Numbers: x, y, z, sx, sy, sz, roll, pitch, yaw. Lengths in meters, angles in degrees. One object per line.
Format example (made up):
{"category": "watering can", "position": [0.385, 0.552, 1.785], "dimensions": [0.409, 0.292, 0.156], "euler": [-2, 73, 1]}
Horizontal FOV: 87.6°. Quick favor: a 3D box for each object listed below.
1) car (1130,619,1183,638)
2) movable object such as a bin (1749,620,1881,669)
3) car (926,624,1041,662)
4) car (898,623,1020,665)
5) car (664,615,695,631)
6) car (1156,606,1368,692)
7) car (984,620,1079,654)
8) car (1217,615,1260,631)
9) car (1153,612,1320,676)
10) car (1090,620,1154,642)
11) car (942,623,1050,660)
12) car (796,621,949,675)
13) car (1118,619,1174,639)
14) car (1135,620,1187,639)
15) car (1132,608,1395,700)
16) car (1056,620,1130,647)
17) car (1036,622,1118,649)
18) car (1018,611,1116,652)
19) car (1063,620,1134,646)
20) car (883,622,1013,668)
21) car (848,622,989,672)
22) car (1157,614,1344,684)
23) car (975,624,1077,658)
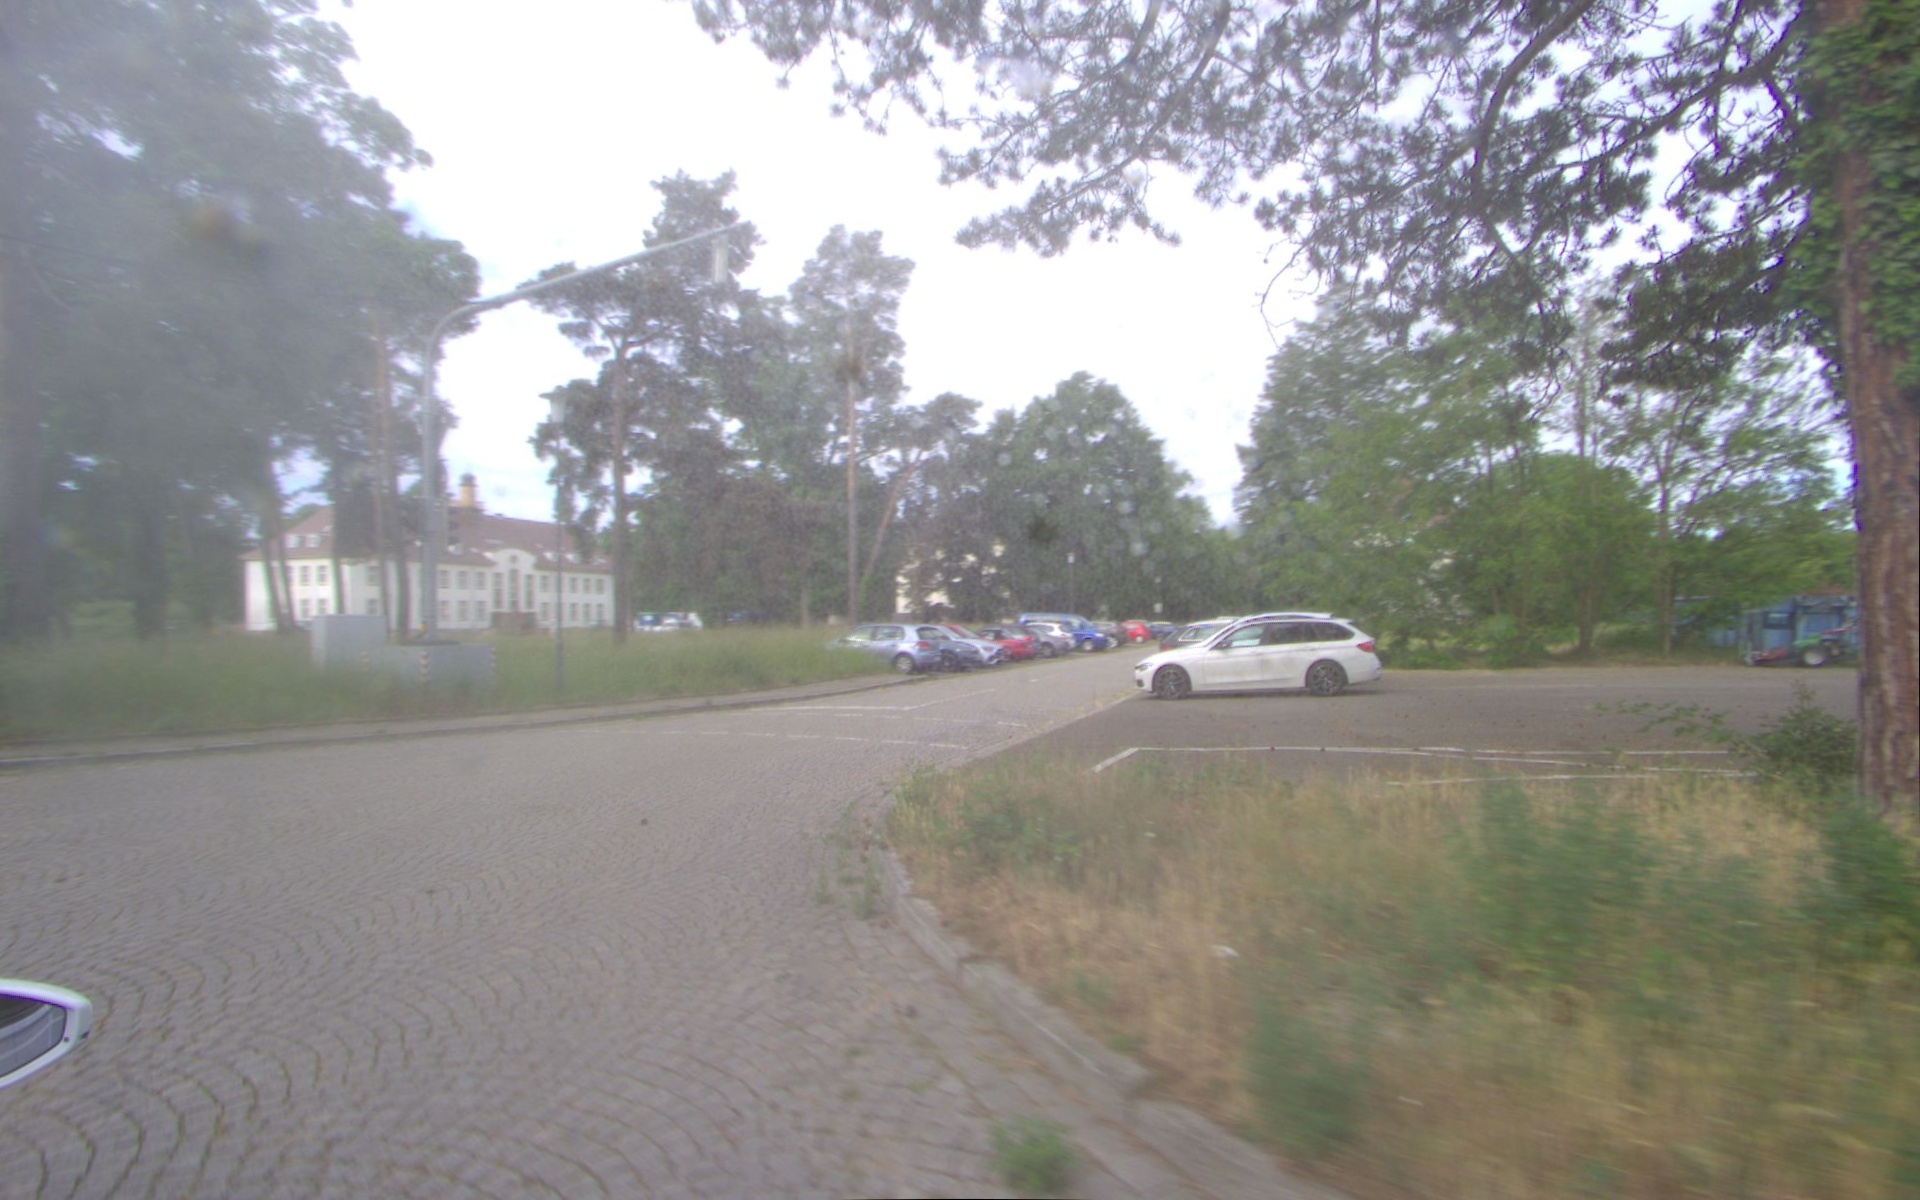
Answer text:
{"category": "car", "position": [16.488, 2.348, 83.865], "dimensions": [4.169, 1.541, 1.736], "euler": [0, -1, 20]}
{"category": "movable object such as a bin", "position": [20.264, 1.054, 23.789], "dimensions": [2.171, 1.148, 0.963], "euler": [0, -2, 11]}
{"category": "car", "position": [0.918, 1.638, 39.137], "dimensions": [4.174, 1.408, 1.734], "euler": [0, -1, 25]}
{"category": "car", "position": [-0.050, 1.584, 37.006], "dimensions": [4.174, 1.487, 1.734], "euler": [0, -1, 25]}
{"category": "car", "position": [-35.325, 2.963, 126.349], "dimensions": [1.894, 1.929, 4.070], "euler": [0, -3, 17]}
{"category": "car", "position": [6.465, 1.051, 21.696], "dimensions": [4.168, 1.626, 1.785], "euler": [-3, -1, 17]}
{"category": "car", "position": [3.356, 1.723, 47.101], "dimensions": [4.174, 1.521, 1.617], "euler": [0, -1, 25]}
{"category": "car", "position": [35.912, 2.974, 129.054], "dimensions": [5.205, 1.979, 2.087], "euler": [-1, -2, 20]}
{"category": "car", "position": [7.483, 1.182, 27.045], "dimensions": [4.171, 1.504, 1.703], "euler": [-3, -1, 21]}
{"category": "car", "position": [11.330, 2.155, 70.111], "dimensions": [4.169, 1.541, 1.736], "euler": [0, -1, 20]}
{"category": "car", "position": [1.498, 1.695, 41.721], "dimensions": [4.174, 1.491, 1.734], "euler": [0, -1, 25]}
{"category": "car", "position": [-2.586, 1.383, 29.649], "dimensions": [4.170, 1.528, 1.736], "euler": [0, -1, 21]}
{"category": "car", "position": [14.816, 2.278, 79.767], "dimensions": [4.169, 1.541, 1.736], "euler": [0, -1, 20]}
{"category": "car", "position": [17.438, 2.540, 86.842], "dimensions": [4.169, 1.541, 1.736], "euler": [0, -1, 20]}
{"category": "car", "position": [5.710, 1.048, 19.152], "dimensions": [4.527, 1.505, 1.853], "euler": [-3, -3, 17]}
{"category": "car", "position": [8.036, 2.005, 60.409], "dimensions": [4.169, 1.541, 1.736], "euler": [0, -1, 20]}
{"category": "car", "position": [6.364, 1.935, 54.441], "dimensions": [4.170, 1.408, 1.736], "euler": [0, -1, 21]}
{"category": "car", "position": [5.557, 1.602, 52.121], "dimensions": [4.708, 2.052, 2.139], "euler": [0, -1, 21]}
{"category": "car", "position": [8.754, 2.063, 63.129], "dimensions": [4.169, 1.541, 1.736], "euler": [0, -1, 20]}
{"category": "car", "position": [-0.426, 1.518, 34.616], "dimensions": [4.174, 1.487, 1.734], "euler": [0, -1, 25]}
{"category": "car", "position": [-1.336, 1.464, 32.003], "dimensions": [4.170, 1.487, 1.736], "euler": [0, -1, 21]}
{"category": "car", "position": [7.044, 1.189, 24.287], "dimensions": [4.171, 1.504, 1.703], "euler": [-3, -1, 21]}
{"category": "car", "position": [2.911, 1.789, 44.194], "dimensions": [4.174, 1.408, 1.734], "euler": [0, -1, 25]}
